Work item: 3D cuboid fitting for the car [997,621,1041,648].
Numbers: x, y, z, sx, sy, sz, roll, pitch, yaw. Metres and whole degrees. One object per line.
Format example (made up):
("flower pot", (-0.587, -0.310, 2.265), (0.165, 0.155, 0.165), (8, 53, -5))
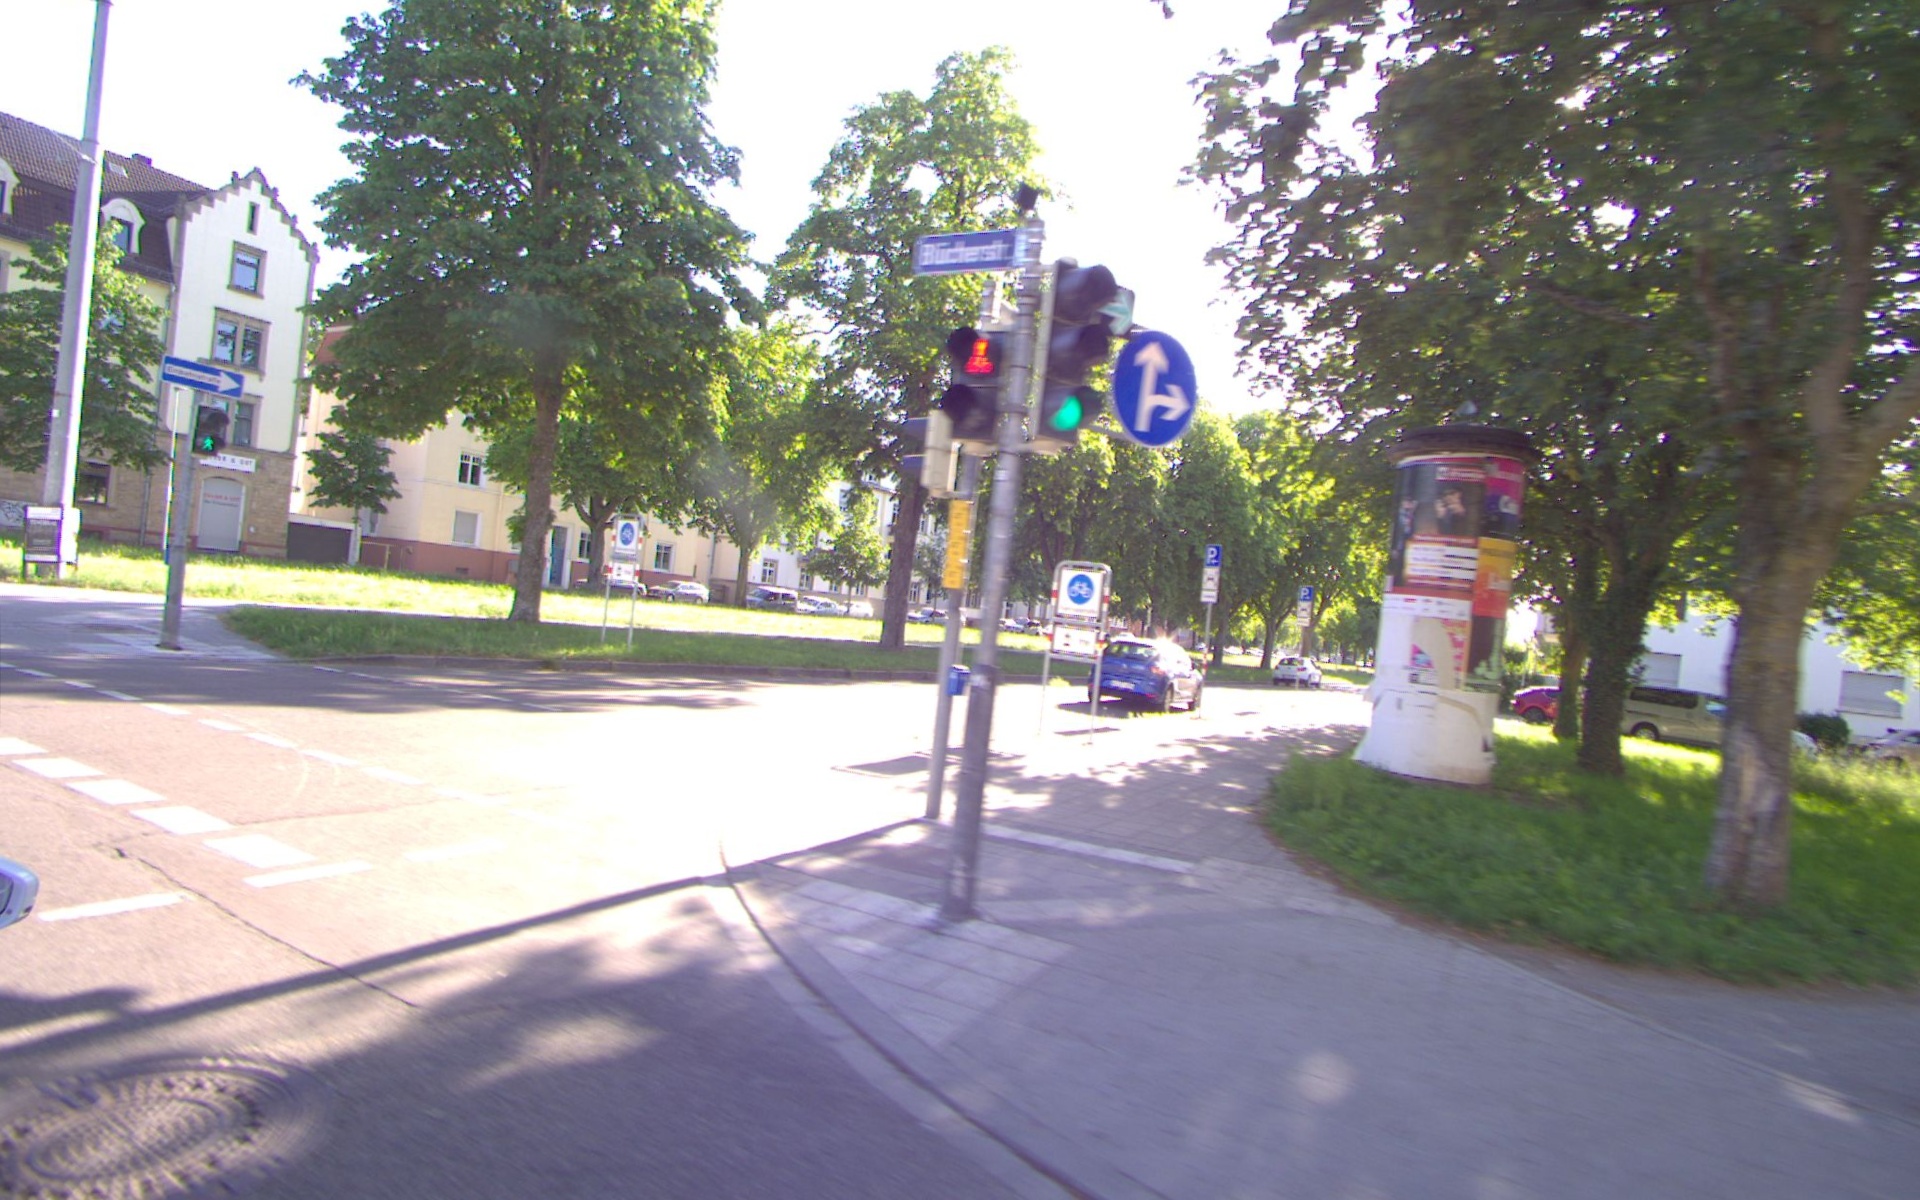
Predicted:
("car", (5.557, 3.268, 94.680), (1.896, 2.054, 4.656), (7, -2, 32))

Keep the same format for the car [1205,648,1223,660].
("car", (41.871, 8.946, 165.703), (1.706, 1.622, 3.700), (7, -2, 32))

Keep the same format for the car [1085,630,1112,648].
("car", (15.065, 4.251, 109.250), (1.623, 1.536, 3.401), (7, -2, 31))

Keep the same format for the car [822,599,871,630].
("car", (-9.121, 1.190, 81.425), (1.896, 1.903, 3.701), (7, -2, 31))

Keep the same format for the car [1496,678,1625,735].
("car", (22.025, 3.873, 37.011), (3.832, 1.489, 1.755), (7, 0, 32))

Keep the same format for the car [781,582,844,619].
("car", (-10.064, 0.050, 68.822), (1.896, 1.903, 4.062), (7, -2, 31))

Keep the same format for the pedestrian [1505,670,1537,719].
("pedestrian", (22.349, 3.774, 40.050), (0.885, 1.789, 1.024), (7, -1, 32))

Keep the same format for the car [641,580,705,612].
("car", (-18.556, -0.257, 65.101), (1.706, 1.530, 3.701), (7, -2, 31))

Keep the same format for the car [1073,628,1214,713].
("car", (4.061, 1.514, 21.744), (1.785, 1.451, 3.995), (7, 0, 27))

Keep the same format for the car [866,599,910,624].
("car", (-6.135, 1.019, 86.457), (1.707, 1.622, 3.698), (7, -2, 35))

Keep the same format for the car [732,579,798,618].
("car", (-12.396, -0.057, 64.037), (1.898, 1.903, 3.698), (7, -2, 35))

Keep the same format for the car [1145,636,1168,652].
("car", (24.432, 5.445, 125.206), (1.623, 1.536, 3.401), (7, -2, 31))

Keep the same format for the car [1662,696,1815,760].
("car", (26.545, 4.330, 34.496), (3.832, 1.489, 1.755), (7, 0, 32))

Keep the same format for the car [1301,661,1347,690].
("car", (22.506, 4.687, 62.149), (1.647, 1.449, 3.886), (4, -4, 35))

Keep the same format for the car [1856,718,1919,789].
("car", (26.202, 4.239, 26.457), (3.658, 1.668, 1.916), (7, 0, 39))

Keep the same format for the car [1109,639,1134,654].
("car", (20.990, 6.051, 130.672), (1.706, 1.622, 3.700), (7, -2, 32))

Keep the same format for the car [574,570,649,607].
("car", (-21.180, -0.682, 61.302), (1.798, 1.624, 3.847), (9, -1, 33))

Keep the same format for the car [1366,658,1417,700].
("car", (22.430, 4.108, 52.219), (1.787, 1.845, 3.995), (4, -4, 31))

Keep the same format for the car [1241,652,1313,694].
("car", (13.459, 3.108, 42.618), (1.787, 1.451, 3.990), (7, 0, 33))

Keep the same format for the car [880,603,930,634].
("car", (-4.272, 1.428, 78.527), (1.896, 1.903, 3.701), (7, -2, 31))

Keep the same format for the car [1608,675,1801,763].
("car", (21.696, 3.419, 29.585), (4.272, 1.858, 1.918), (7, 0, 34))
